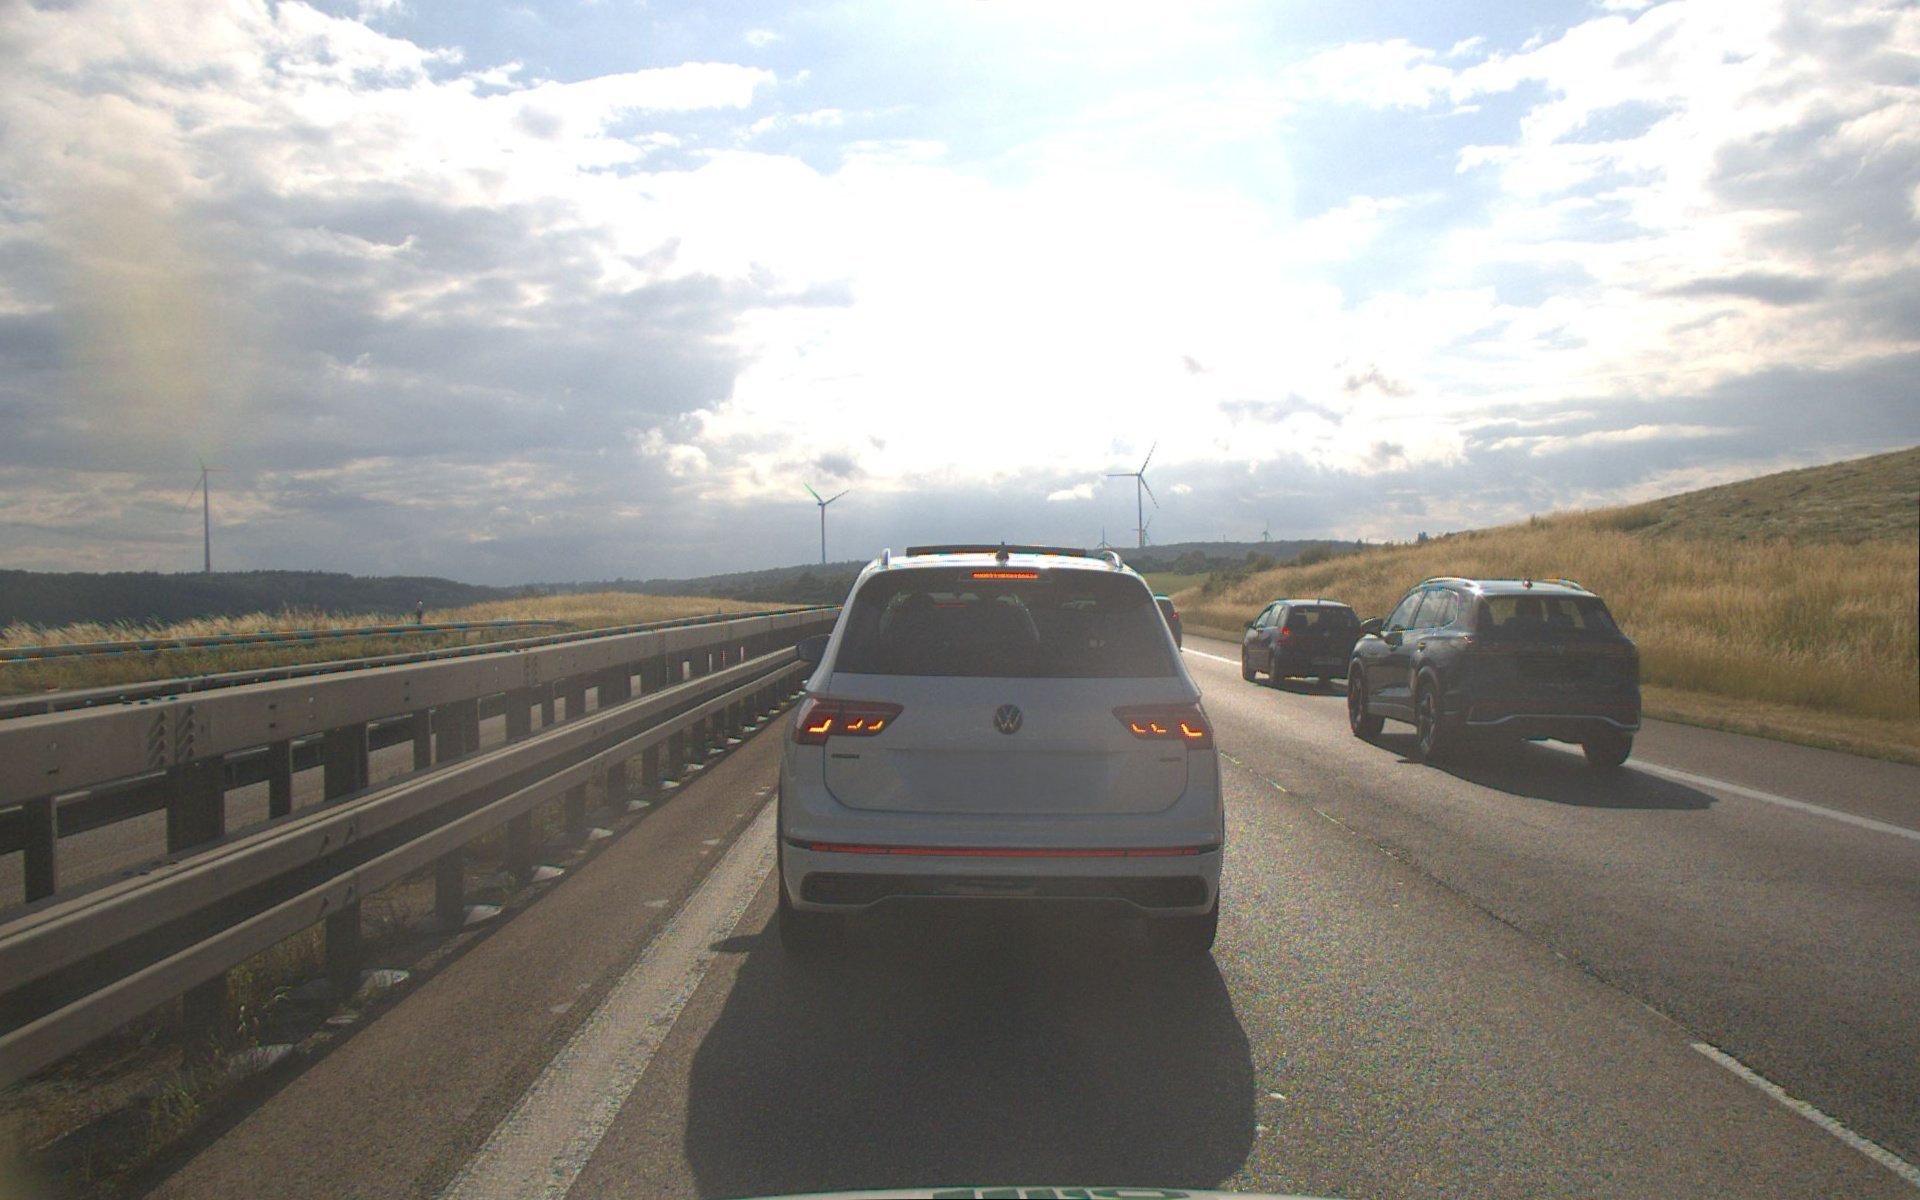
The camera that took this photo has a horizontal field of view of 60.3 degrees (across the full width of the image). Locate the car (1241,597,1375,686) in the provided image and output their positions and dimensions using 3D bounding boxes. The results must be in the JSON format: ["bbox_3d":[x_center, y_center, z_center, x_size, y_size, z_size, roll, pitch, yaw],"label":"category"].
[{"bbox_3d":[5.979,0.672,28.761,1.573,1.445,3.672,0,0,0],"label":"car"}]

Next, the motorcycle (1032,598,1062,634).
[{"bbox_3d":[2.999,0.552,57.147,0.877,1.211,2.256,0,0,-1],"label":"motorcycle"}]

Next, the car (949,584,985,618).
[{"bbox_3d":[0.324,0.050,81.969,1.669,1.679,3.999,0,0,-1],"label":"car"}]

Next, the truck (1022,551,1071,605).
[{"bbox_3d":[6.057,-1.549,117.030,3.118,3.656,11.132,0,1,1],"label":"truck"}]

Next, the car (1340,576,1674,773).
[{"bbox_3d":[5.150,0.636,16.221,1.784,1.629,4.234,2,0,-1],"label":"car"}]

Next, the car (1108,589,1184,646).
[{"bbox_3d":[5.295,0.491,47.490,1.669,1.573,3.999,0,0,-1],"label":"car"}]

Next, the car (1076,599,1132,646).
[{"bbox_3d":[5.249,0.796,60.622,1.669,1.679,3.999,0,0,-1],"label":"car"}]

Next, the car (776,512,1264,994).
[{"bbox_3d":[0.191,0.545,7.881,1.734,1.705,3.999,0,0,-1],"label":"car"}]

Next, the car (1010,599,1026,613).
[{"bbox_3d":[6.712,0.716,191.805,1.669,1.573,3.999,0,0,-1],"label":"car"}]

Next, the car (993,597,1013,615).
[{"bbox_3d":[3.880,0.538,148.778,1.669,1.573,3.999,0,0,-1],"label":"car"}]

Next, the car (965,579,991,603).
[{"bbox_3d":[1.212,-0.599,111.958,1.669,1.573,3.999,0,0,-1],"label":"car"}]

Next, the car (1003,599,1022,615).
[{"bbox_3d":[5.092,0.692,160.994,1.669,1.573,3.999,0,0,-1],"label":"car"}]

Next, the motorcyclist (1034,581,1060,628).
[{"bbox_3d":[3.003,0.159,57.103,0.832,1.587,0.934,0,0,-1],"label":"motorcyclist"}]
